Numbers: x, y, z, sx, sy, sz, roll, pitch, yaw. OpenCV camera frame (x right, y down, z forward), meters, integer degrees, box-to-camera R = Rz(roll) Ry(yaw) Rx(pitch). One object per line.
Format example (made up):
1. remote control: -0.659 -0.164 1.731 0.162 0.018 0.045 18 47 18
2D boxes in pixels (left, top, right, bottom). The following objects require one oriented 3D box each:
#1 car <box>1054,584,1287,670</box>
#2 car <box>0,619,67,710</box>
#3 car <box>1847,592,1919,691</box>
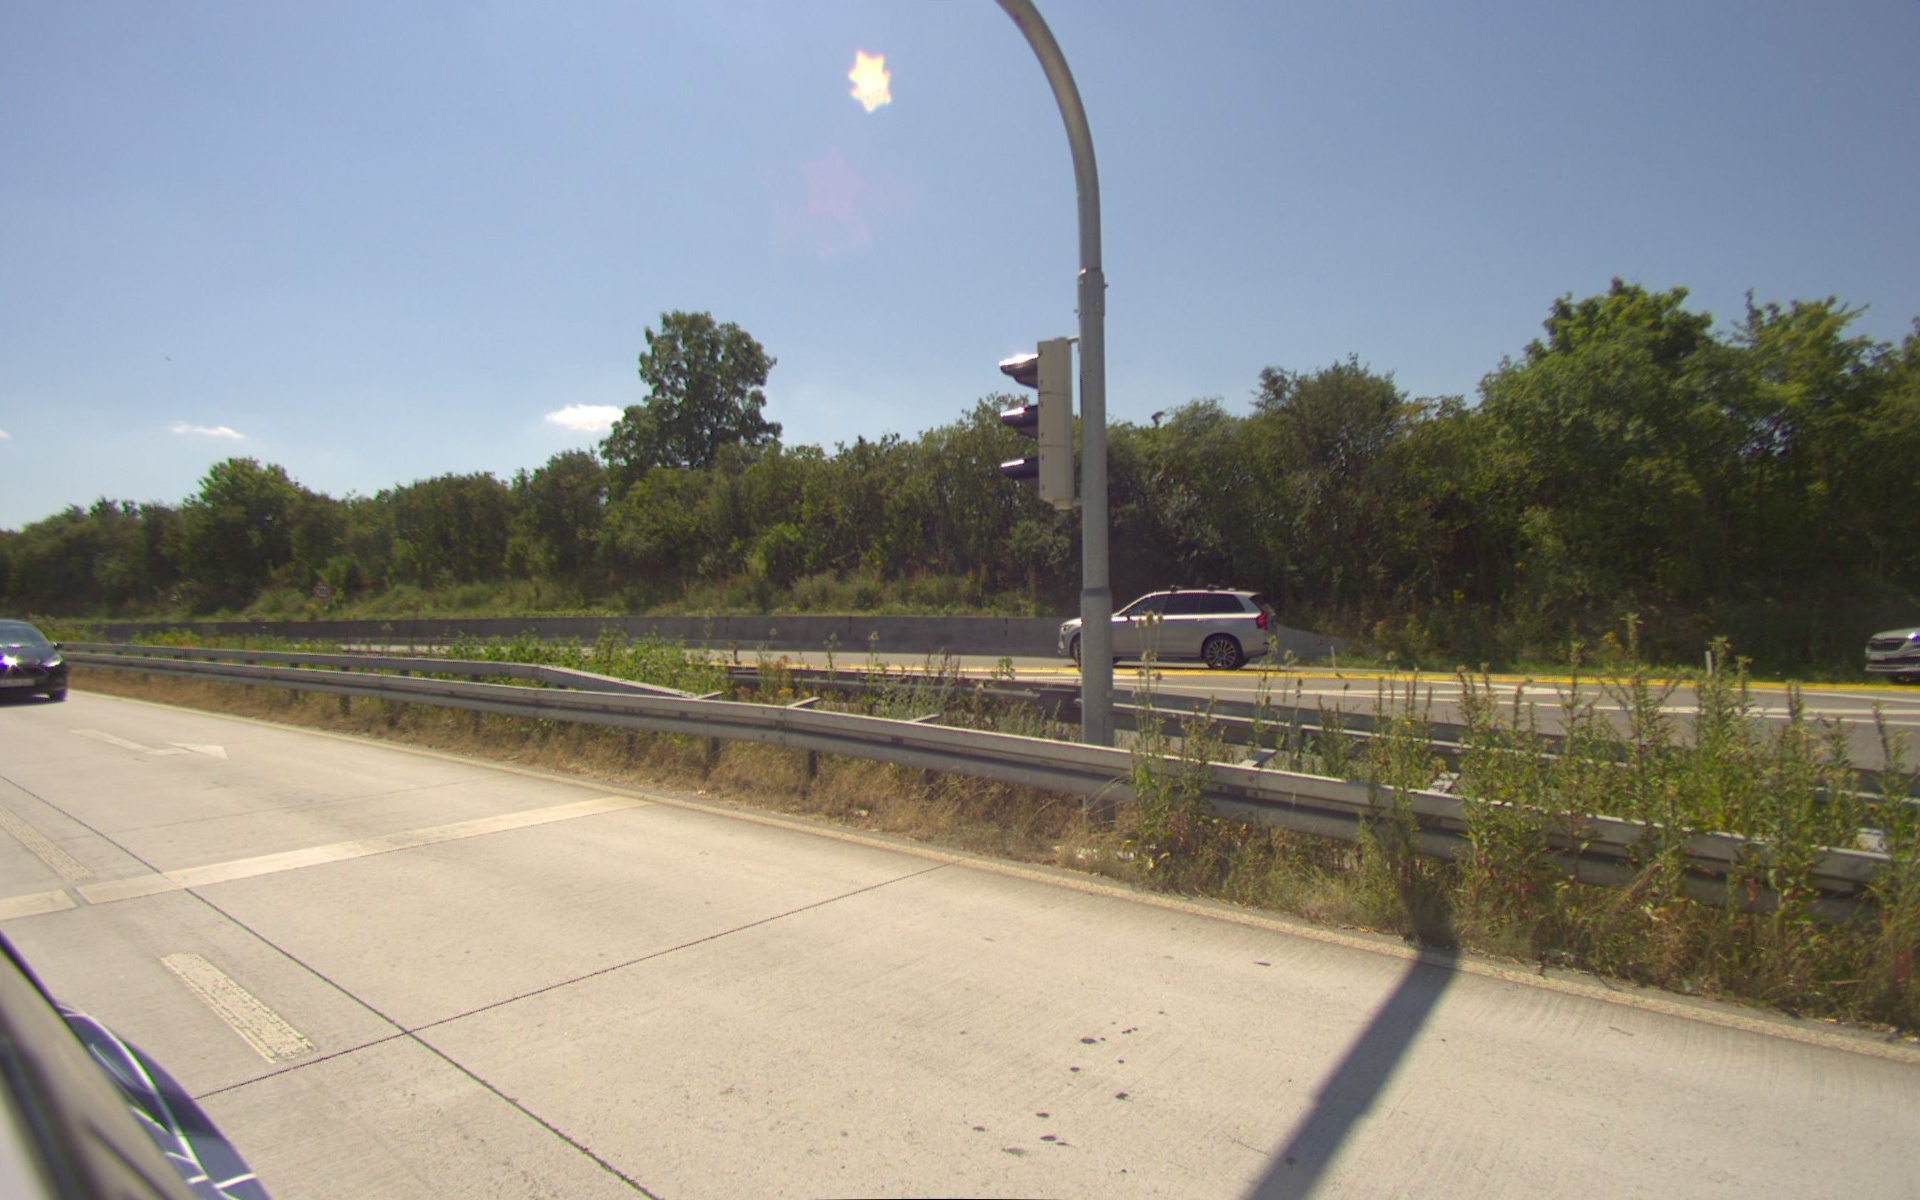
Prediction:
1. car: 4.715 0.584 22.720 4.827 1.786 1.984 -1 -1 24
2. car: -17.725 1.119 18.414 3.996 1.496 1.607 -1 0 40
3. car: 19.026 0.702 17.846 4.616 1.705 1.989 -1 -1 17
